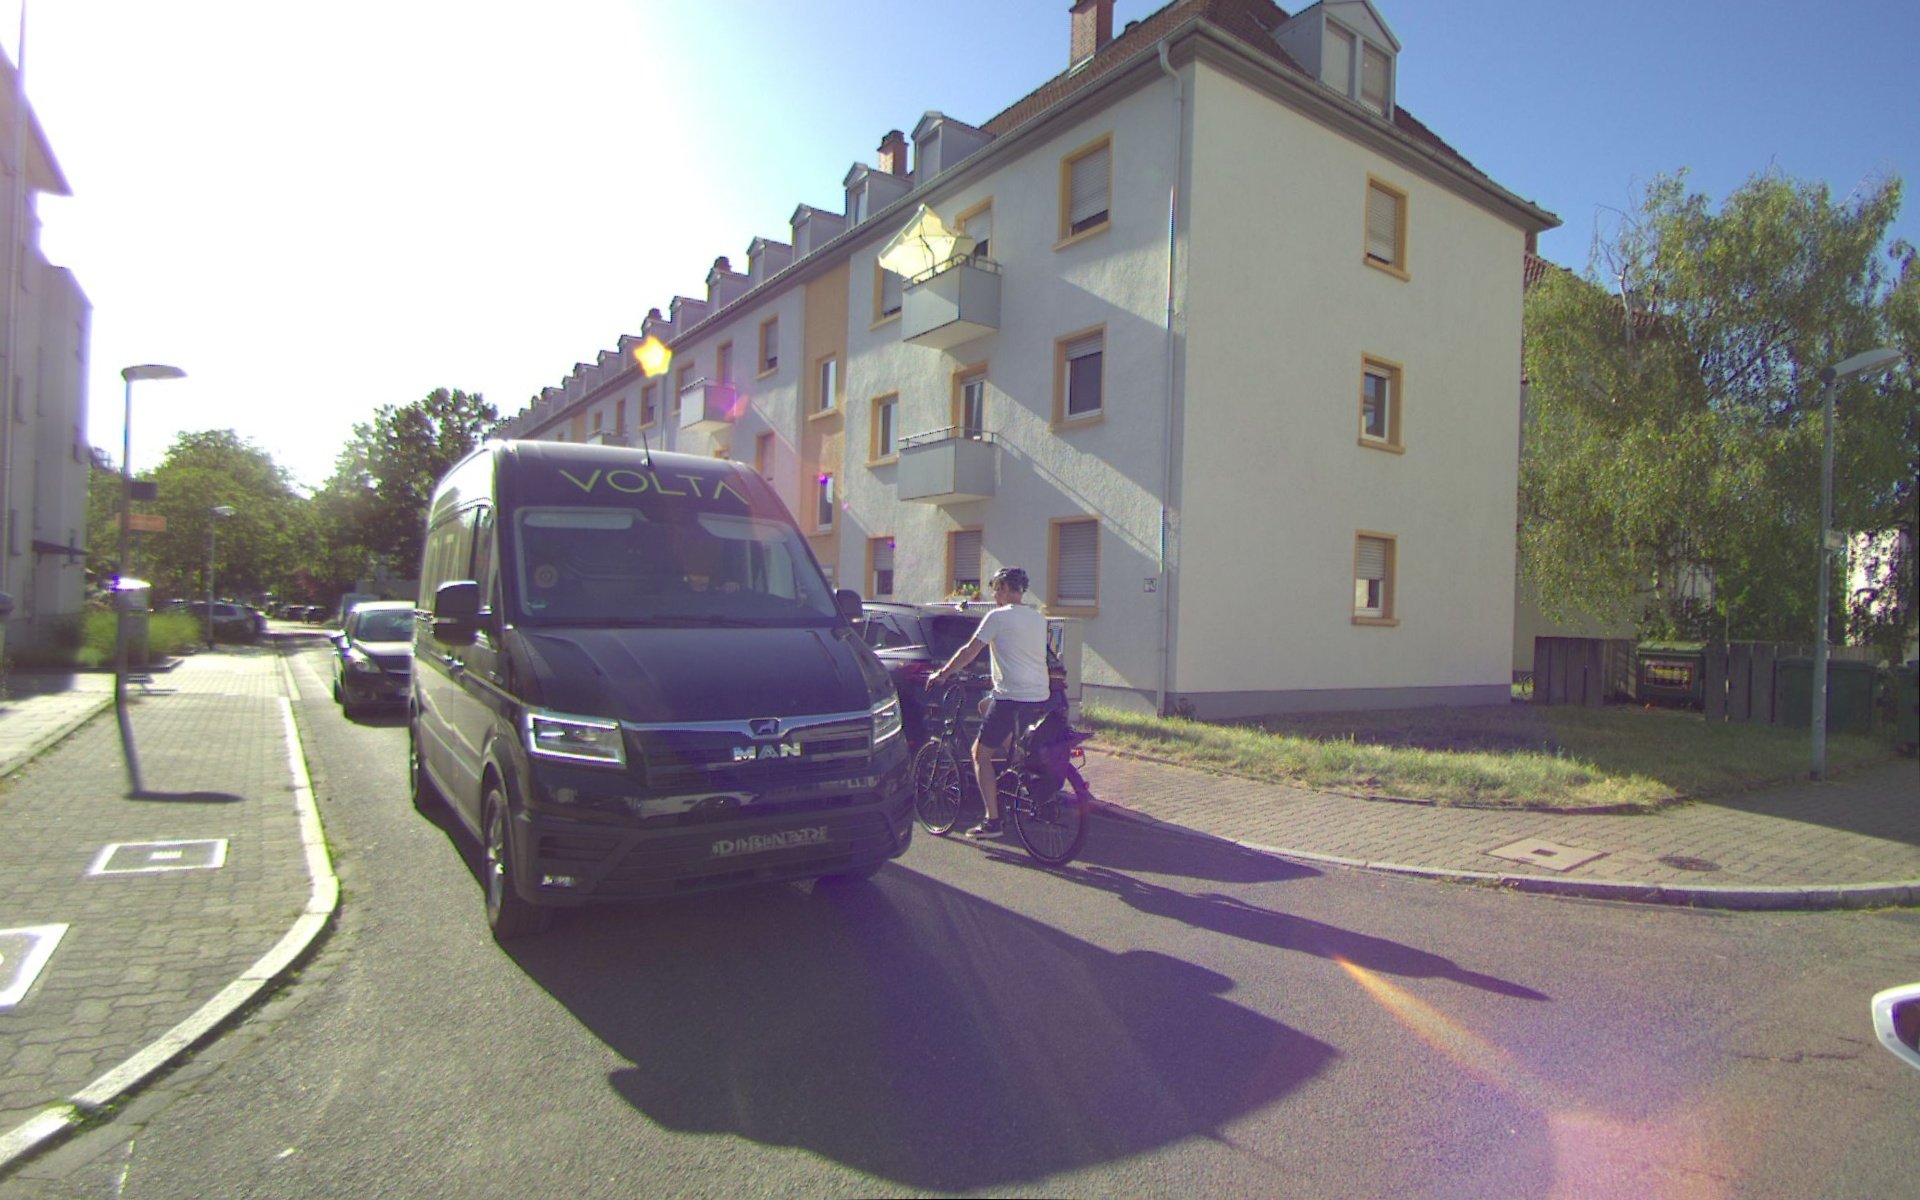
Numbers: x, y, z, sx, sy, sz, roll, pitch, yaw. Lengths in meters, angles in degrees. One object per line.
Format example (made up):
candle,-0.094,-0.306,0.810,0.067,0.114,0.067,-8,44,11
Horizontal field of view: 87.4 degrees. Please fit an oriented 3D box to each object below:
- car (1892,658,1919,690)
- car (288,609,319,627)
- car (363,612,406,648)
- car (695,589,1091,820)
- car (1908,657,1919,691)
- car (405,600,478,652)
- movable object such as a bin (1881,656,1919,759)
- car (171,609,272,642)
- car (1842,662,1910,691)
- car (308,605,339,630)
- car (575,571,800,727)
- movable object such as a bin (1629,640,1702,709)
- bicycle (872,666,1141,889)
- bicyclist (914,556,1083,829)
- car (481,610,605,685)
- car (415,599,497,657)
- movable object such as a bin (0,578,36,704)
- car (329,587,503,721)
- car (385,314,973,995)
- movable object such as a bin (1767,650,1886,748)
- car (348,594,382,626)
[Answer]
car,46.903,3.573,48.965,1.458,1.496,3.622,-3,-4,33
car,-63.267,1.751,96.785,1.984,1.726,3.955,2,-3,-39
car,-28.915,1.519,50.431,1.765,1.679,3.537,2,-3,-31
car,-0.902,0.834,9.653,1.703,1.685,4.459,4,-3,-35
car,43.830,3.342,44.716,1.547,1.484,4.252,-1,-2,32
car,-18.088,0.922,34.970,1.767,1.679,3.533,2,-3,-35
movable object such as a bin,14.011,1.544,14.528,1.404,1.411,0.770,3,-1,-38
car,-29.595,1.049,40.359,3.075,1.252,1.389,2,-2,-30
car,49.185,4.088,54.022,1.718,1.450,4.590,-1,-3,30
car,-55.908,1.549,88.263,1.976,2.040,3.970,2,-3,-29
car,-3.880,0.643,13.853,1.703,1.812,3.965,4,-3,-35
movable object such as a bin,15.452,1.606,22.009,0.994,1.454,1.053,2,-3,-38
bicycle,0.237,1.039,6.409,0.624,1.129,1.795,5,-3,-40
bicyclist,0.237,0.555,6.436,0.593,1.599,0.896,3,-2,-40
car,-8.865,0.996,21.197,1.766,1.401,3.536,5,-4,-33
car,-15.709,0.891,31.229,1.767,1.679,3.533,2,-3,-35
movable object such as a bin,-12.375,0.482,12.493,1.033,1.530,1.214,2,-1,-32
car,-8.249,0.776,15.067,1.847,1.717,3.962,2,-3,-35
car,-2.435,0.277,6.811,1.980,2.578,5.903,2,-2,-35
movable object such as a bin,13.555,1.516,15.730,0.759,1.399,1.213,2,0,-32
car,-37.685,0.669,63.565,1.765,1.933,3.537,2,-3,-31
